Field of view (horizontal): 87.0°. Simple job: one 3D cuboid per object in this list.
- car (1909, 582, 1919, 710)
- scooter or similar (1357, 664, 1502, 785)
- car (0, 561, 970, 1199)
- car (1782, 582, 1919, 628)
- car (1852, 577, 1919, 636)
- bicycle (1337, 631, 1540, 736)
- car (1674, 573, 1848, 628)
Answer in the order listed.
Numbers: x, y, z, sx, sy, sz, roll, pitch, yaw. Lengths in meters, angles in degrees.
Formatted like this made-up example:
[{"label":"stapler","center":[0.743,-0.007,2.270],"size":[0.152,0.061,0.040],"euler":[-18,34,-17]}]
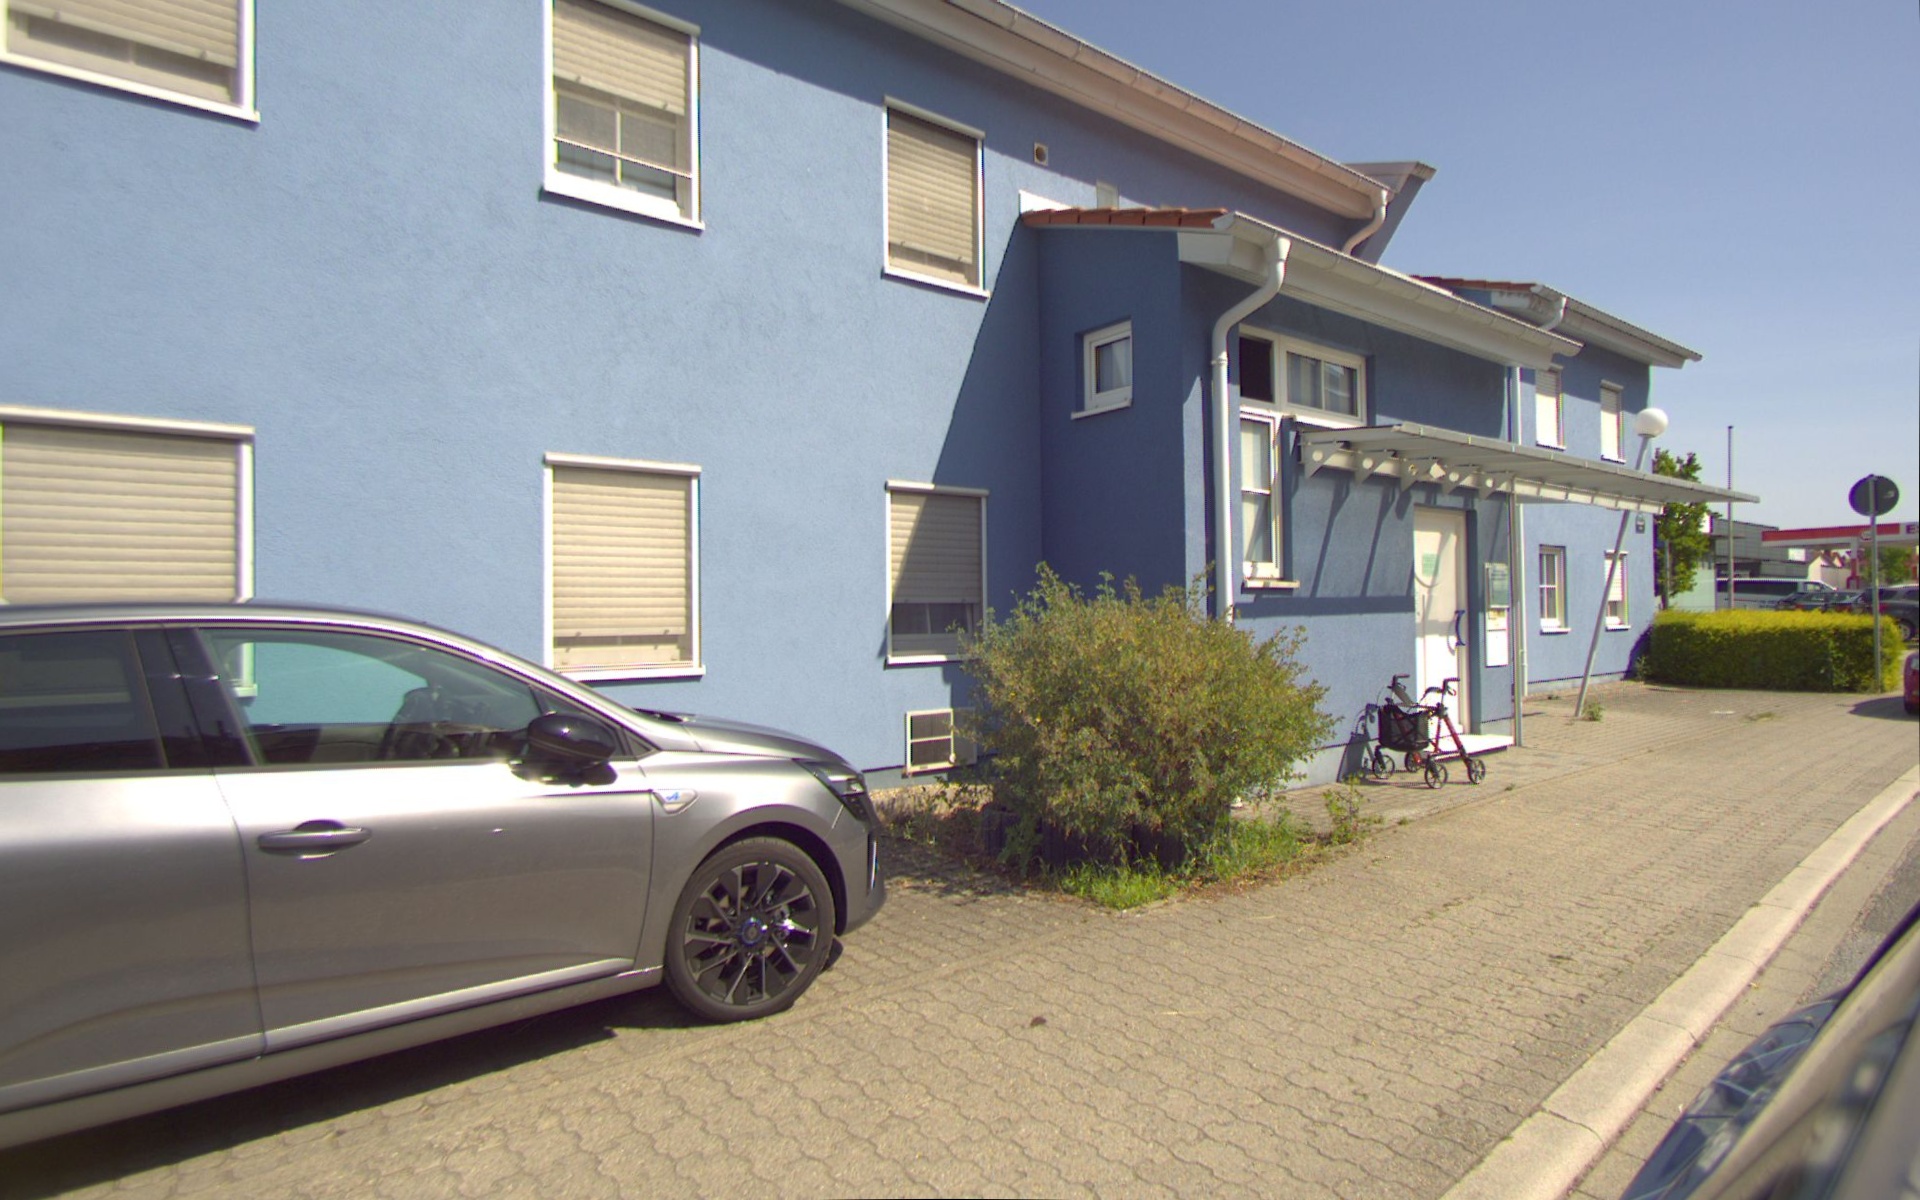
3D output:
[{"label":"car","center":[13.571,0.564,12.520],"size":[4.270,1.513,1.739],"euler":[0,1,-34]},{"label":"scooter or similar","center":[3.729,0.958,8.047],"size":[0.812,0.825,0.730],"euler":[-1,0,-35]},{"label":"car","center":[-2.078,0.647,3.249],"size":[4.071,1.438,1.693],"euler":[-1,-1,-39]},{"label":"car","center":[31.836,0.169,35.508],"size":[4.272,1.570,1.967],"euler":[0,0,25]},{"label":"car","center":[28.382,0.168,28.833],"size":[4.070,1.674,1.816],"euler":[0,0,25]},{"label":"bicycle","center":[5.228,0.870,11.190],"size":[0.644,0.993,1.960],"euler":[0,0,-37]},{"label":"car","center":[31.453,0.040,40.016],"size":[5.253,2.039,2.203],"euler":[0,0,36]}]
